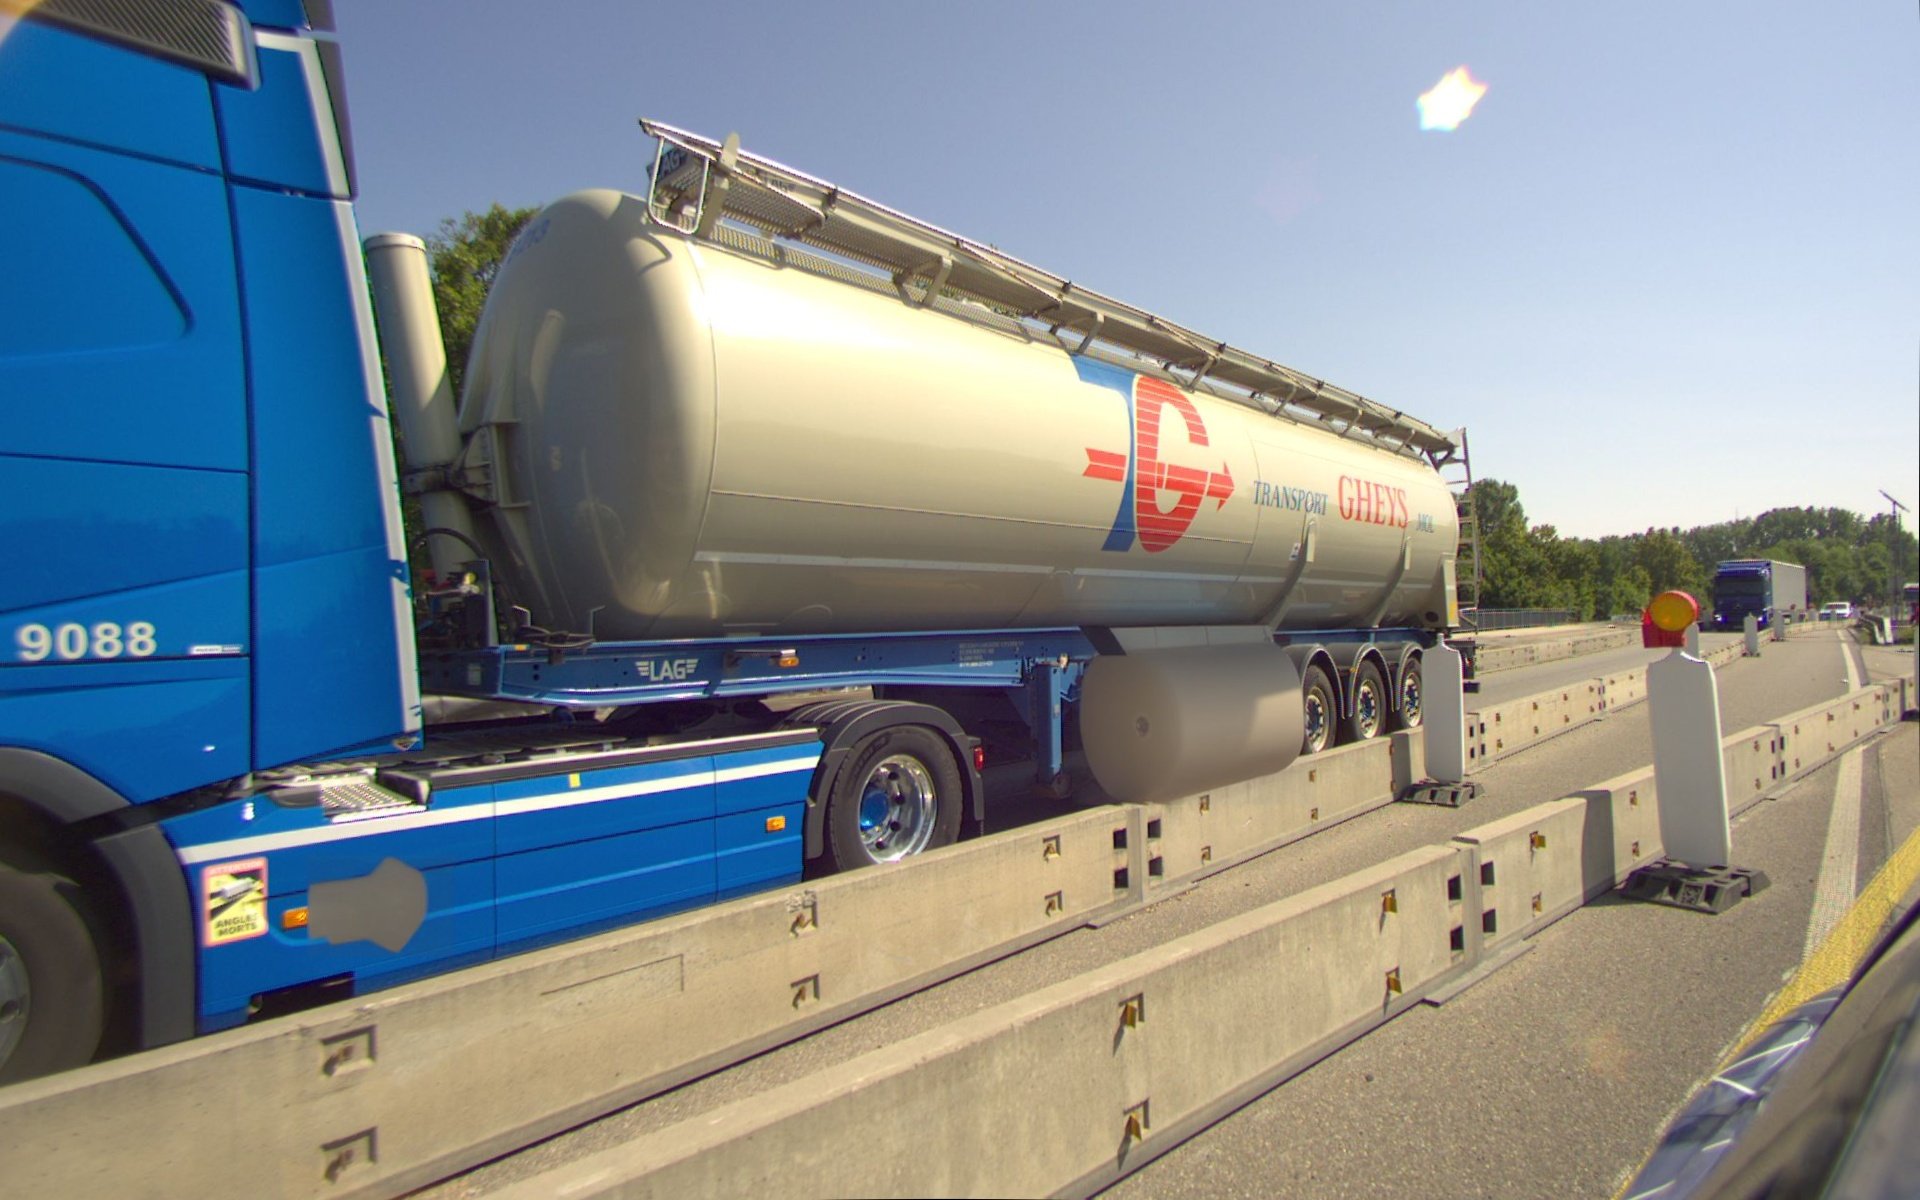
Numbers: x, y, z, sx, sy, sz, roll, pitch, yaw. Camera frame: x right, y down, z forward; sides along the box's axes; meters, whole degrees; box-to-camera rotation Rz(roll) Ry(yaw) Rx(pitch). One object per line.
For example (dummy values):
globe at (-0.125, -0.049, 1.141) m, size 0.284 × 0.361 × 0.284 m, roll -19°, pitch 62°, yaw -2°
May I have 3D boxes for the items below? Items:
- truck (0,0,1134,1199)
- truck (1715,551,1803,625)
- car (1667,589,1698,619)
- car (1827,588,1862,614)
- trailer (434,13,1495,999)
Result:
truck at (-2.229, -0.383, 5.204) m, size 2.693 × 4.155 × 7.188 m, roll -1°, pitch -1°, yaw 42°
truck at (46.885, -0.651, 59.271) m, size 8.522 × 4.036 × 2.855 m, roll 0°, pitch -1°, yaw -44°
car at (65.358, 0.345, 91.518) m, size 2.098 × 2.676 × 5.905 m, roll -1°, pitch -1°, yaw 37°
car at (70.544, 0.101, 80.668) m, size 1.992 × 2.039 × 3.938 m, roll -1°, pitch -1°, yaw 43°
trailer at (1.959, -0.429, 9.823) m, size 2.692 × 4.190 × 12.421 m, roll -1°, pitch -1°, yaw 42°
